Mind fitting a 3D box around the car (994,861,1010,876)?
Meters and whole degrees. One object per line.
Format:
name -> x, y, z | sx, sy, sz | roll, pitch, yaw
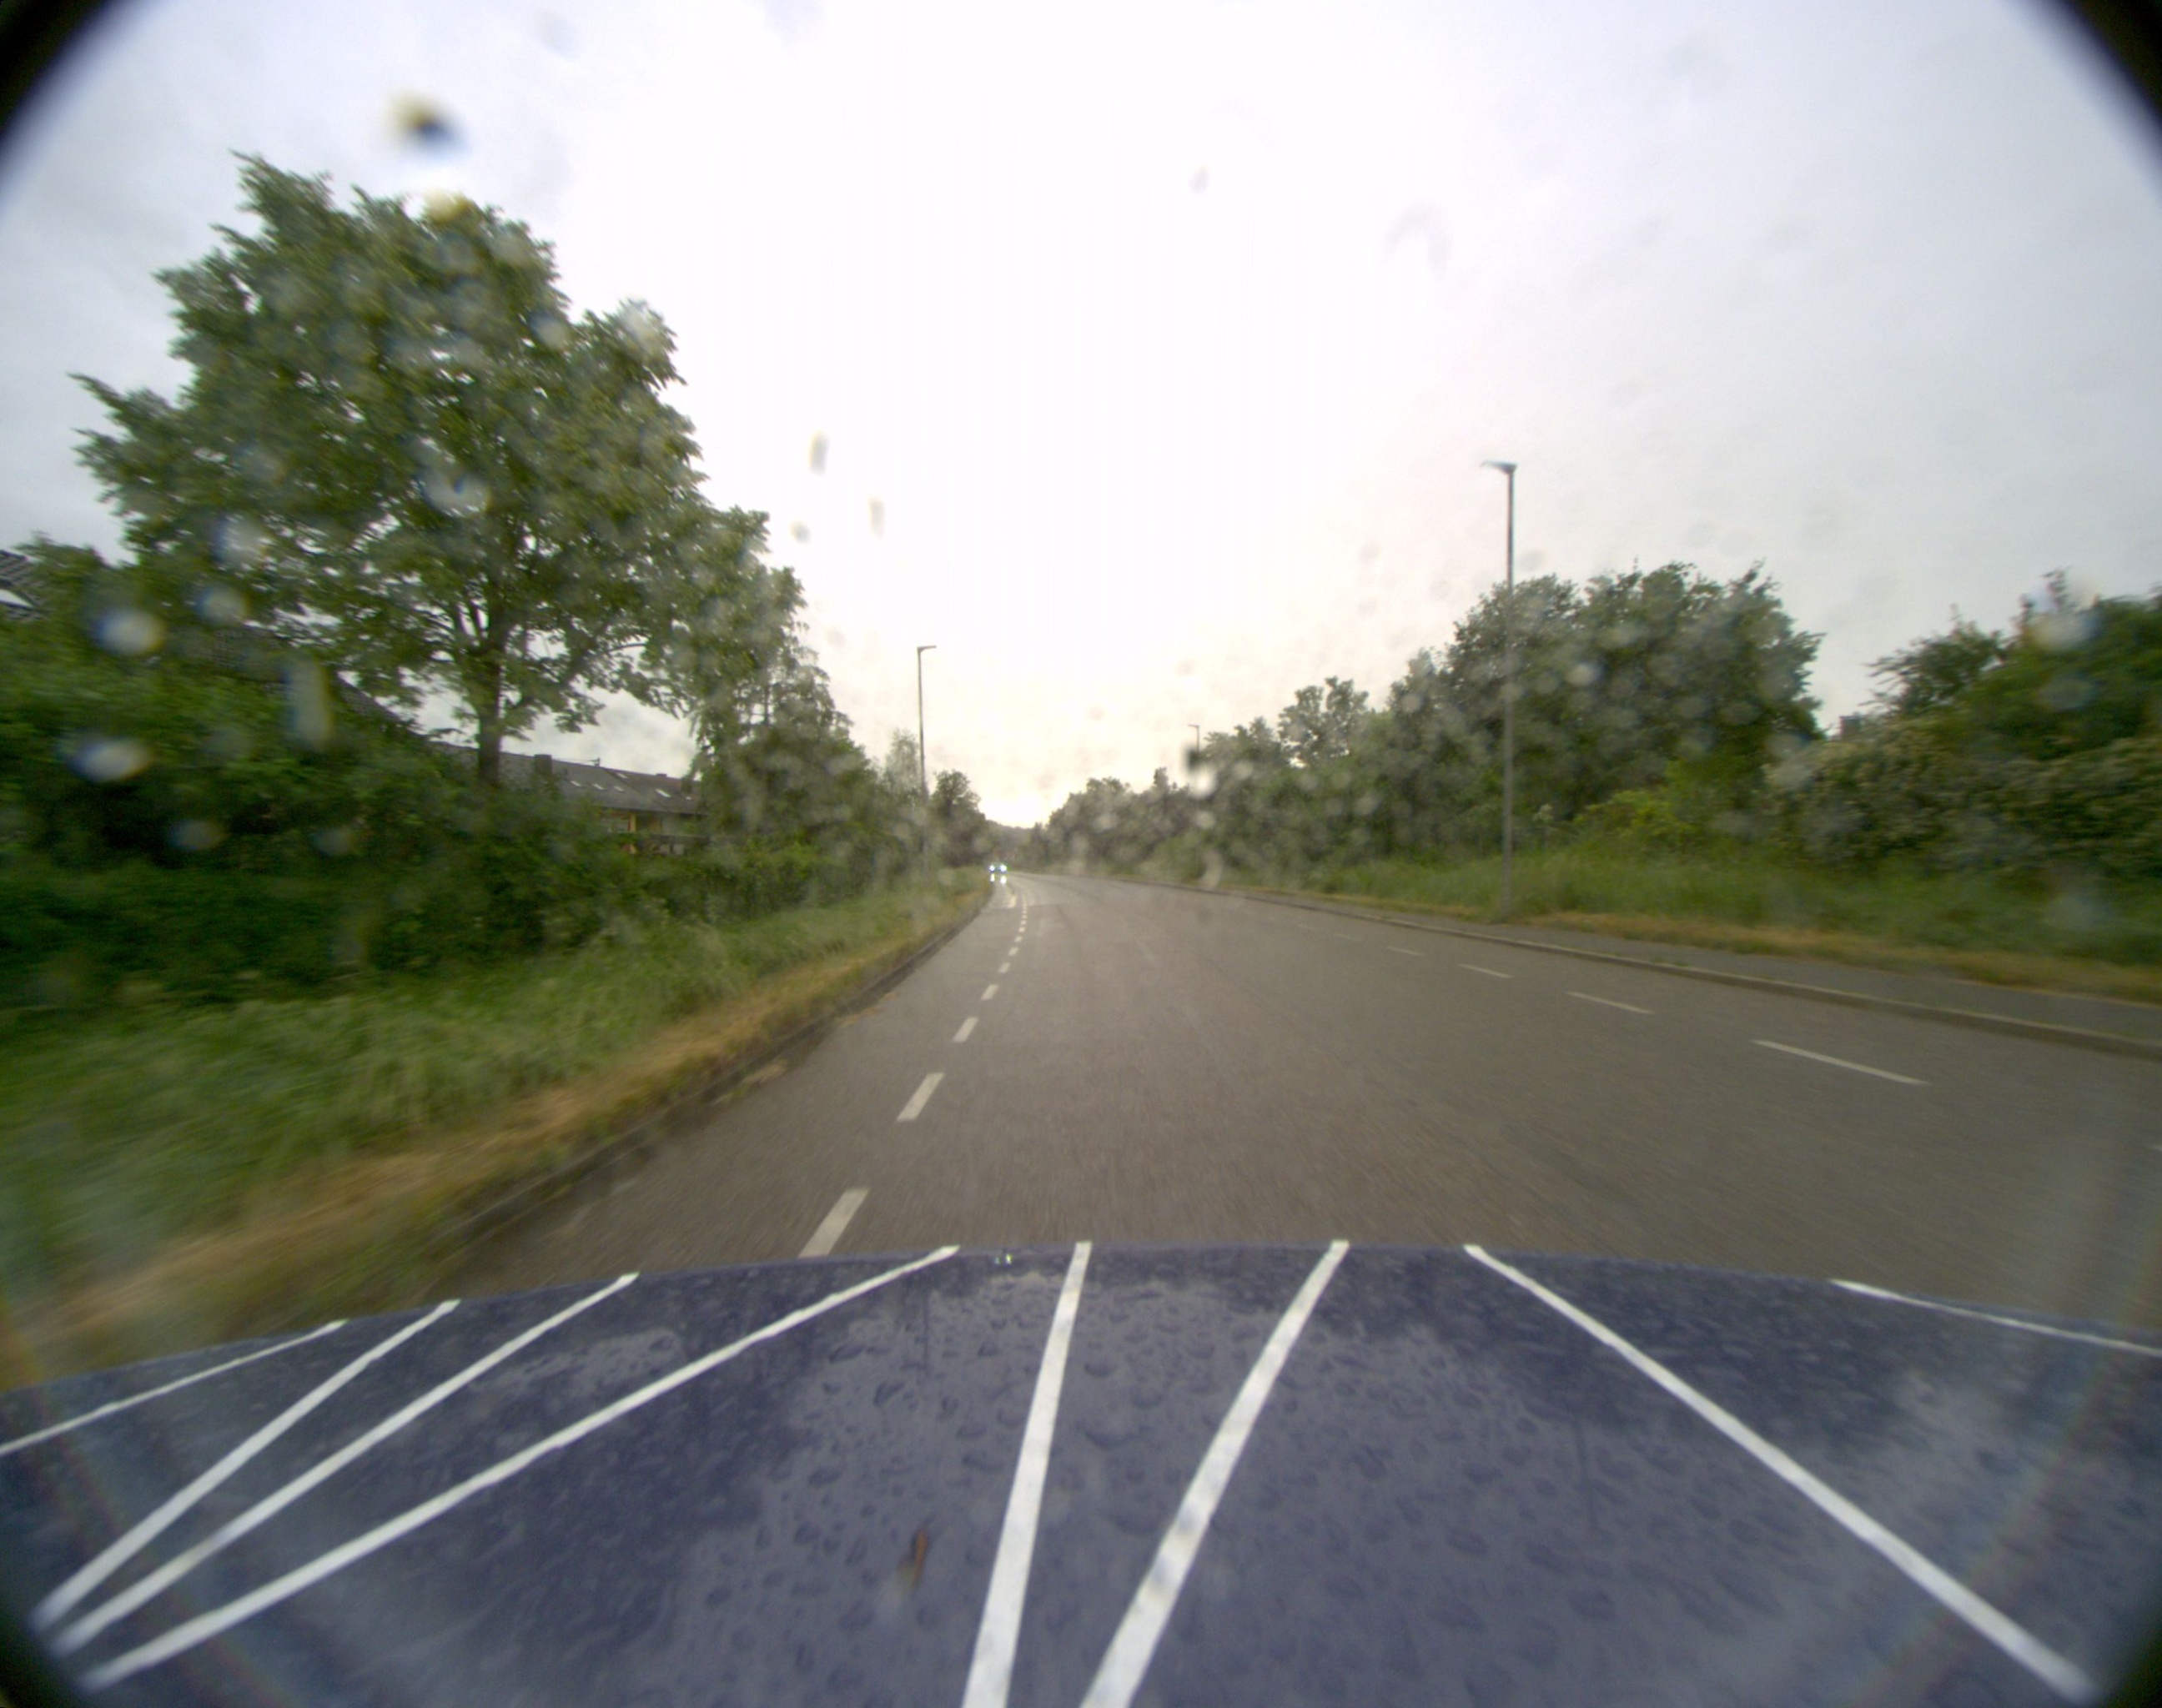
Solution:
car -> -10.357, 1.885, 99.493 | 2.000, 1.831, 3.997 | -1, 0, -8
